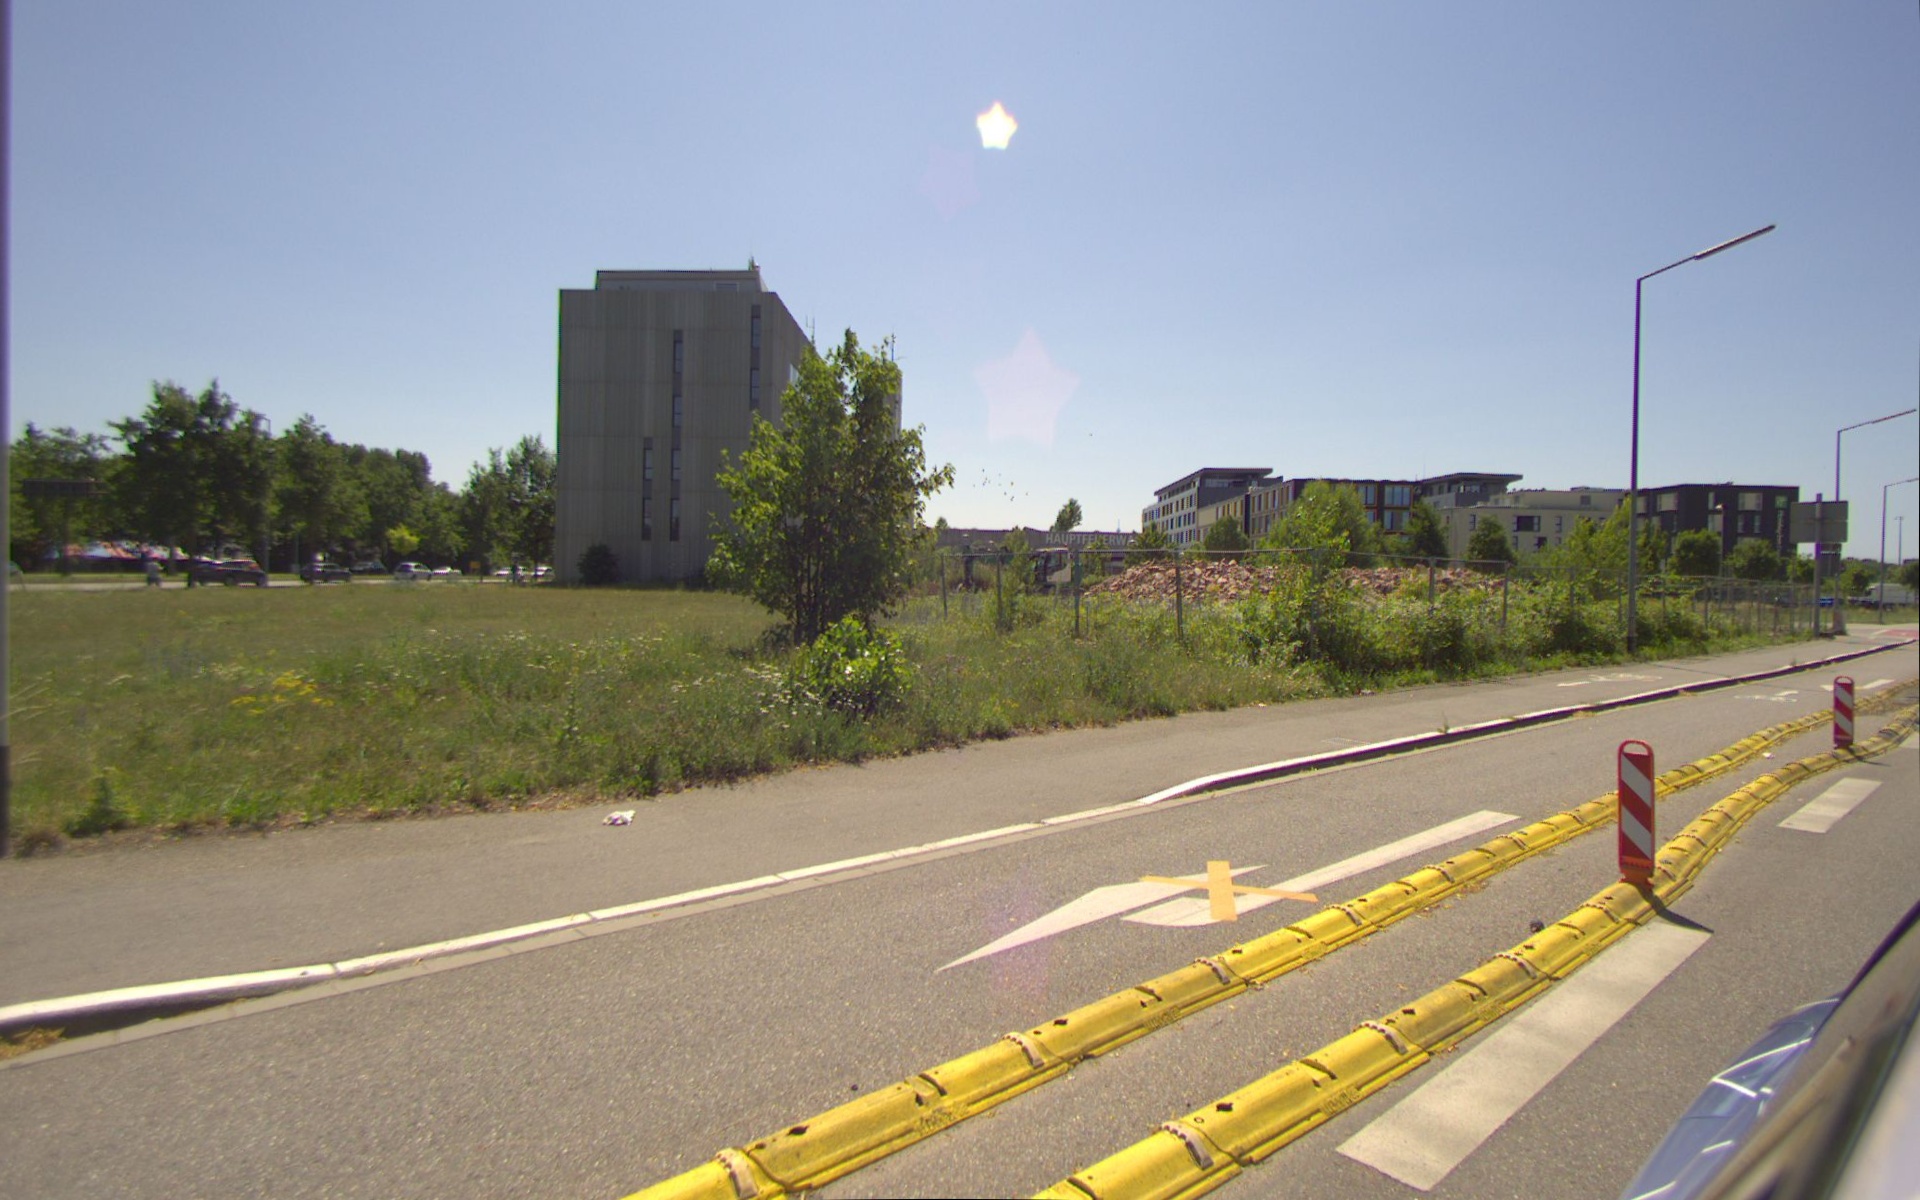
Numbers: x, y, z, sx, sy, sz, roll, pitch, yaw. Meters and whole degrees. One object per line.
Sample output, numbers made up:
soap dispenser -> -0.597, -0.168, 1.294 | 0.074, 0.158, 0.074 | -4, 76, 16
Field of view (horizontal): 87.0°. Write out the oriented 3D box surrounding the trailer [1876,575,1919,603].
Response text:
trailer -> 119.633, -1.356, 126.426 | 8.030, 3.390, 1.998 | 1, 1, 4

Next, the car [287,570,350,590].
car -> -47.118, -1.467, 74.472 | 1.866, 1.408, 4.205 | 0, 1, 2

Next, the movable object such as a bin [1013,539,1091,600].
movable object such as a bin -> 4.912, -1.585, 53.963 | 3.619, 3.101, 2.207 | 0, 1, -35

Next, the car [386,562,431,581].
car -> -47.892, -2.424, 87.933 | 1.708, 1.571, 3.999 | 0, 1, 1

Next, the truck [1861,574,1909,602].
truck -> 115.838, -1.475, 126.723 | 3.928, 3.377, 1.998 | 1, 1, 4

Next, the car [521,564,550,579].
car -> -60.784, -4.034, 145.029 | 1.963, 2.039, 5.083 | 0, 1, 2

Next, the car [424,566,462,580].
car -> -60.908, -3.114, 119.324 | 1.963, 1.590, 4.779 | 0, 1, 2

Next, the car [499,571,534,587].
car -> -44.849, -2.106, 102.326 | 1.708, 1.571, 3.999 | 0, 1, 1

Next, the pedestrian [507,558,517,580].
pedestrian -> -33.686, -2.325, 76.077 | 0.489, 1.712, 0.737 | 0, 0, -1

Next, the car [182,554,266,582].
car -> -45.486, -1.951, 62.690 | 1.962, 1.616, 4.447 | 0, 1, 0

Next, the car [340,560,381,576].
car -> -61.179, -3.279, 103.376 | 1.708, 1.571, 3.999 | 0, 1, 1

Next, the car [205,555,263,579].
car -> -58.787, -2.637, 81.987 | 1.770, 1.838, 3.998 | 0, 1, 2

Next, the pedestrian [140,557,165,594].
pedestrian -> -34.105, -1.029, 42.738 | 0.489, 1.583, 0.737 | 0, 0, -1

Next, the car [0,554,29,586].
car -> -61.599, -1.902, 63.872 | 1.963, 2.039, 3.998 | 0, 1, 2
